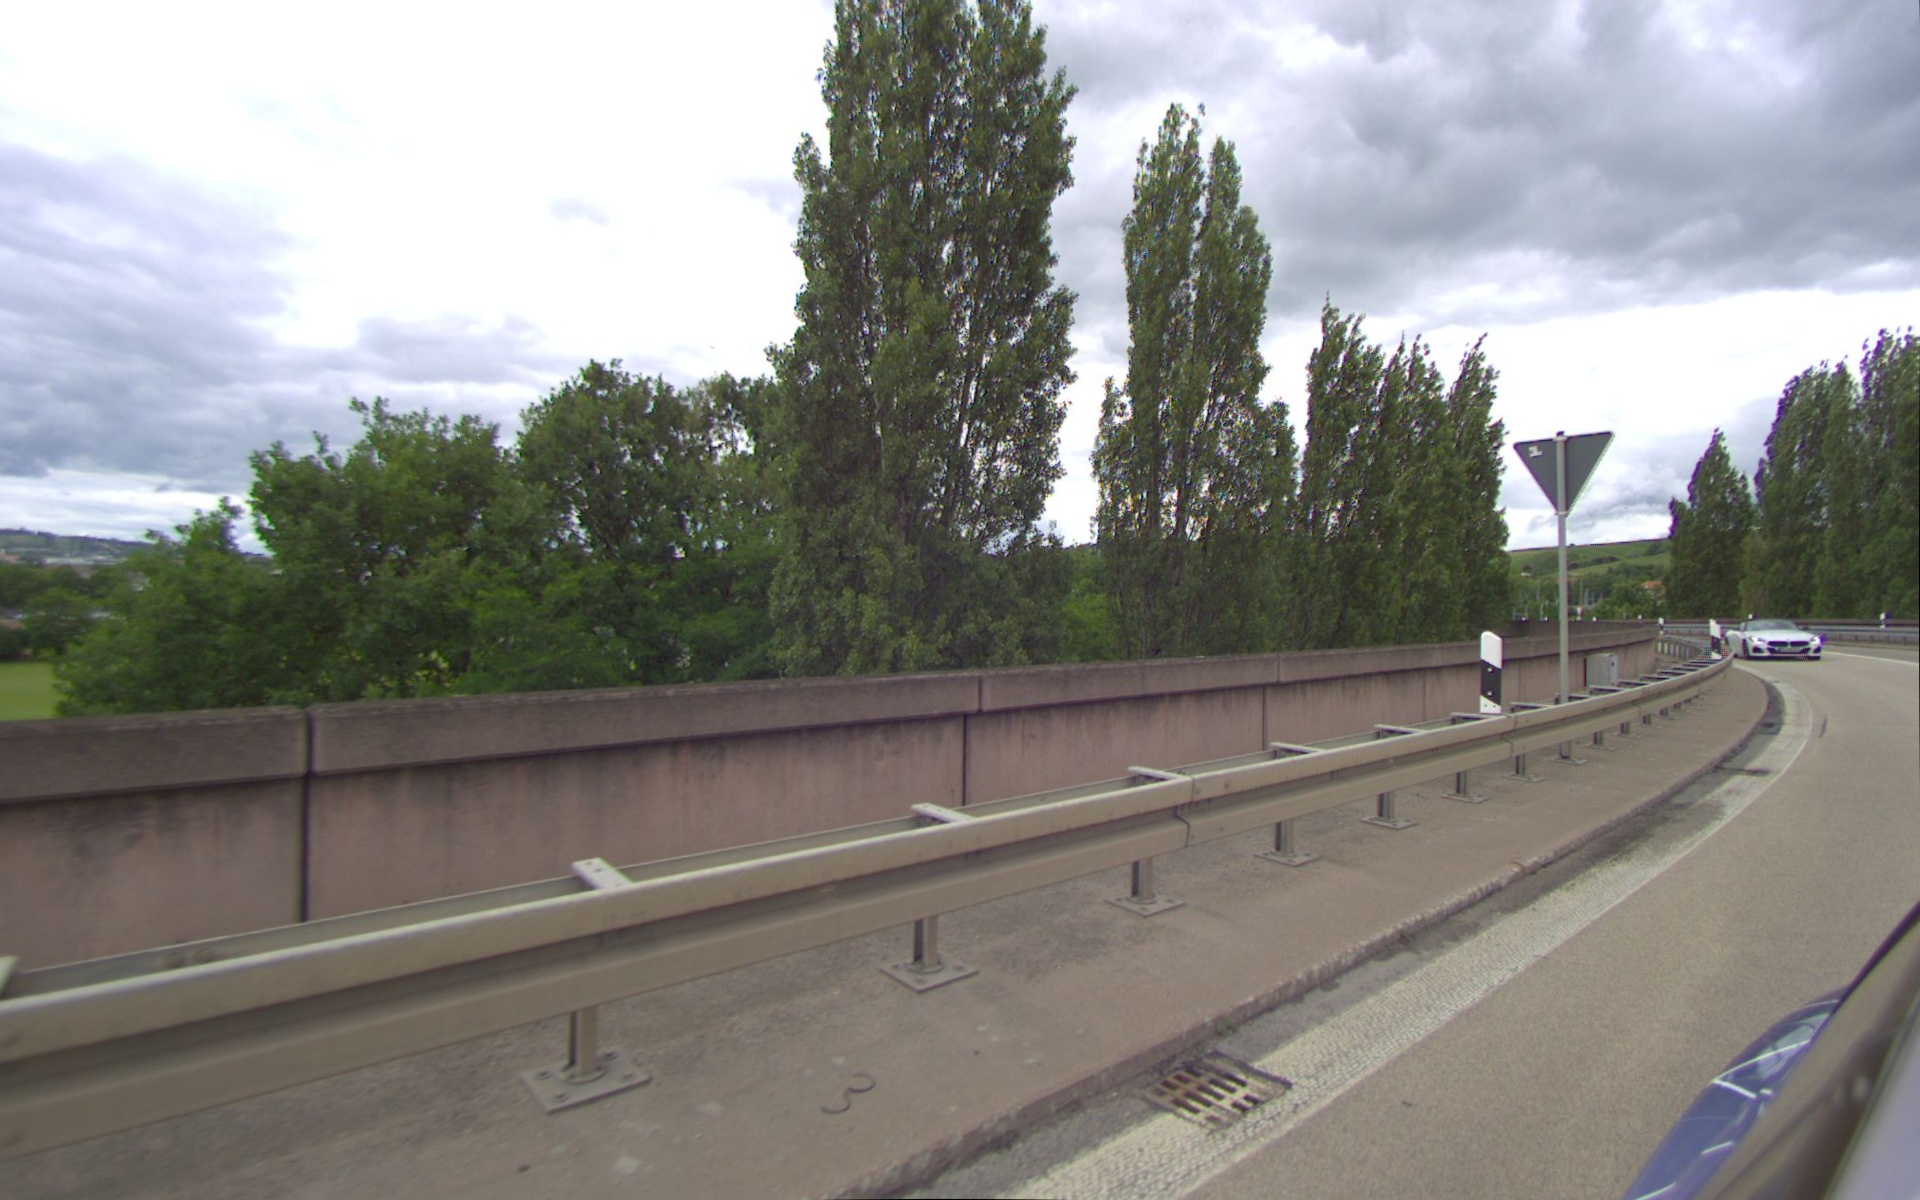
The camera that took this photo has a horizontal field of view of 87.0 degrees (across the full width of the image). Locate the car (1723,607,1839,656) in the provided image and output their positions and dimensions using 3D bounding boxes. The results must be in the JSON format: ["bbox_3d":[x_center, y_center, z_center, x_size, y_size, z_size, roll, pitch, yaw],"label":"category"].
[{"bbox_3d":[26.283,0.951,32.579,1.845,1.361,4.781,0,1,26],"label":"car"}]
